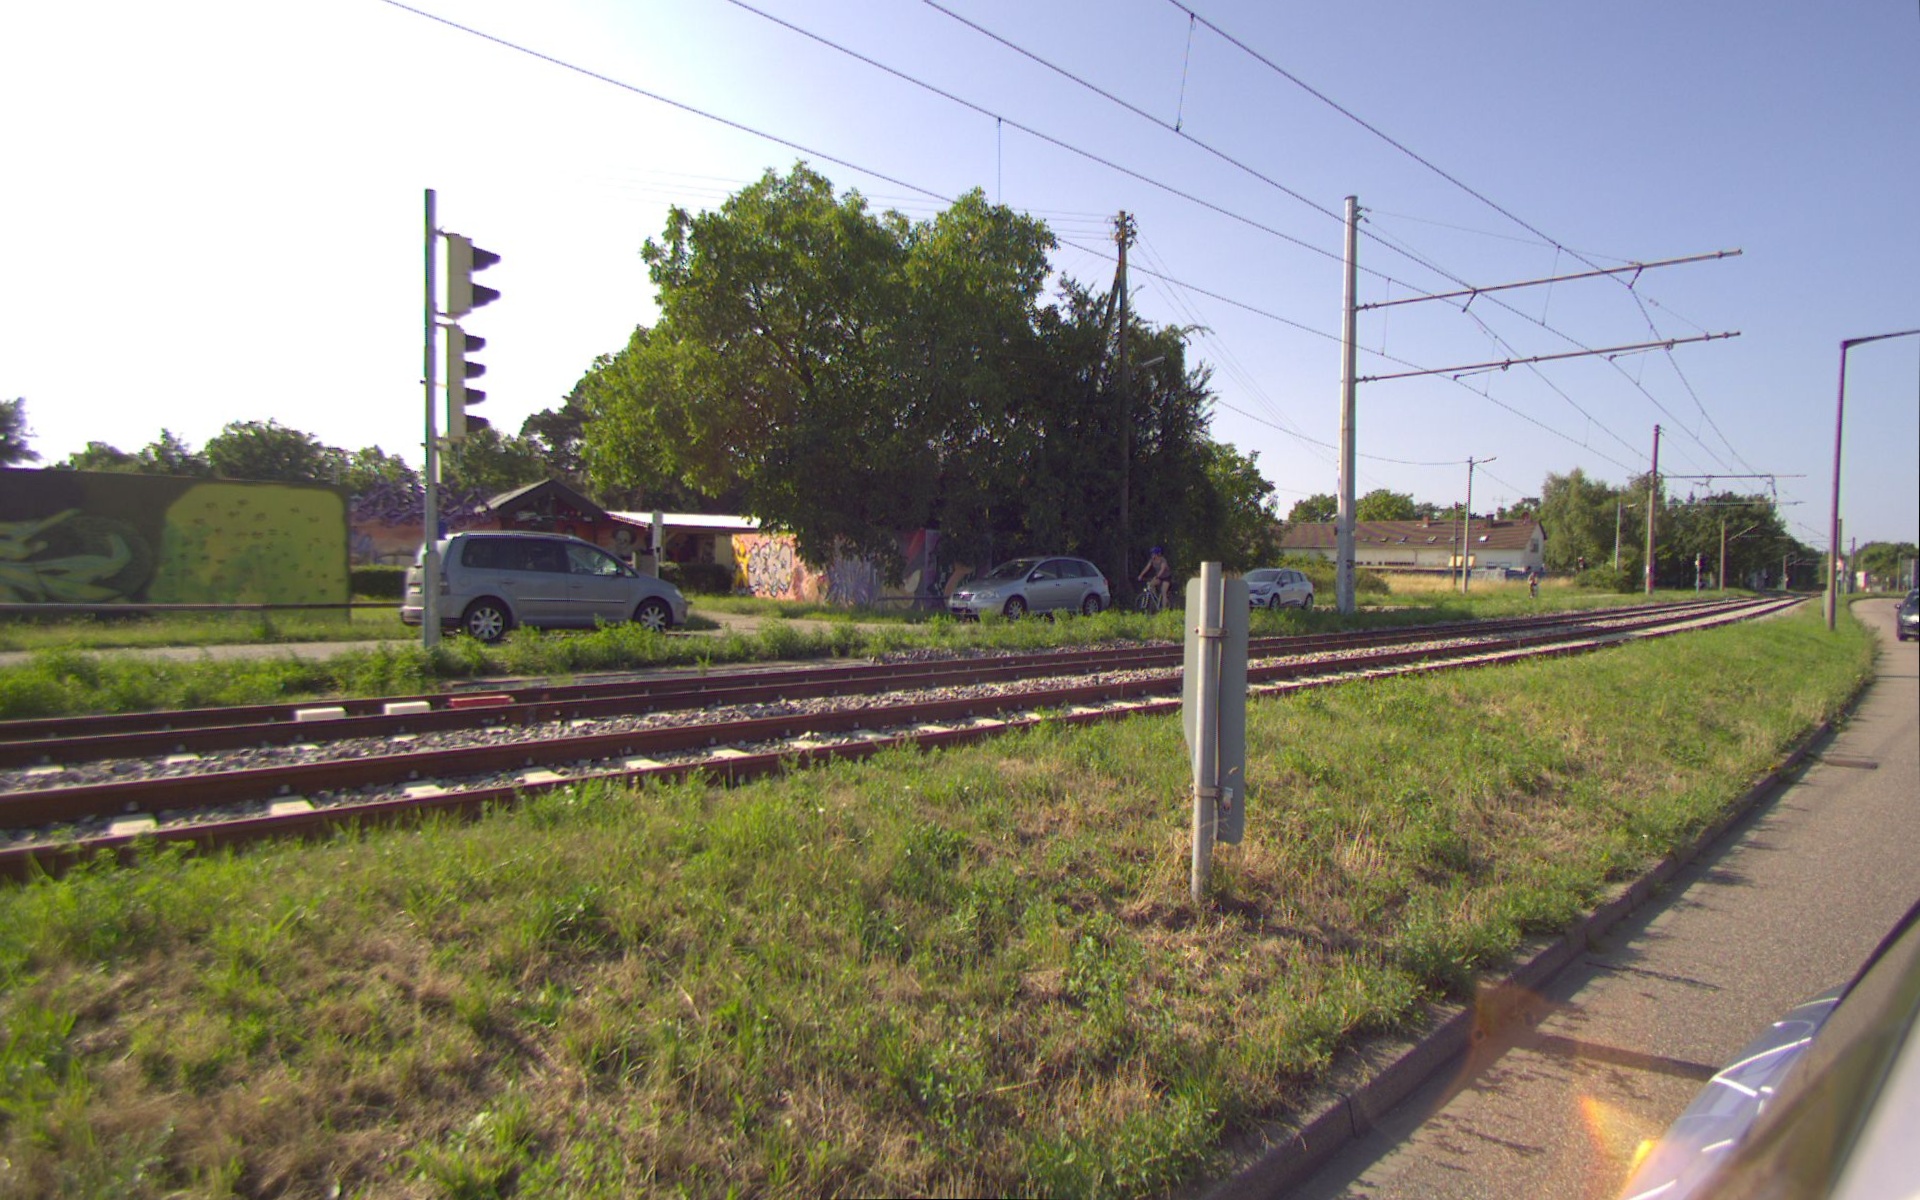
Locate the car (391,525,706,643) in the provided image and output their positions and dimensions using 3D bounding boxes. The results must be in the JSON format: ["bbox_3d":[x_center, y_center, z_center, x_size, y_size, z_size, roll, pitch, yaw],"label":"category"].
[{"bbox_3d":[-6.399,-0.266,16.119,1.523,1.630,4.412,3,2,44],"label":"car"}]

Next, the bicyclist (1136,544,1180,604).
[{"bbox_3d":[4.849,-0.627,24.817,0.946,1.440,0.630,0,1,-44],"label":"bicyclist"}]

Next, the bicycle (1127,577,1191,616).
[{"bbox_3d":[4.904,-0.099,24.874,1.813,0.921,0.643,-1,1,-44],"label":"bicycle"}]

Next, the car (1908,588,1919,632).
[{"bbox_3d":[31.727,0.315,32.391,4.086,1.372,1.844,0,0,-44],"label":"car"}]

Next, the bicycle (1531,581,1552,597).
[{"bbox_3d":[35.005,-0.676,60.937,0.643,0.921,1.784,1,1,45],"label":"bicycle"}]

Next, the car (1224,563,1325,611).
[{"bbox_3d":[10.372,-0.442,33.242,1.534,1.466,4.067,3,2,43],"label":"car"}]

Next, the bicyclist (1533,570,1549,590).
[{"bbox_3d":[34.992,-1.204,60.926,0.778,1.248,0.639,0,1,-45],"label":"bicyclist"}]

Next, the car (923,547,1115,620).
[{"bbox_3d":[1.504,-0.411,24.622,4.644,1.610,1.911,0,2,-41],"label":"car"}]
